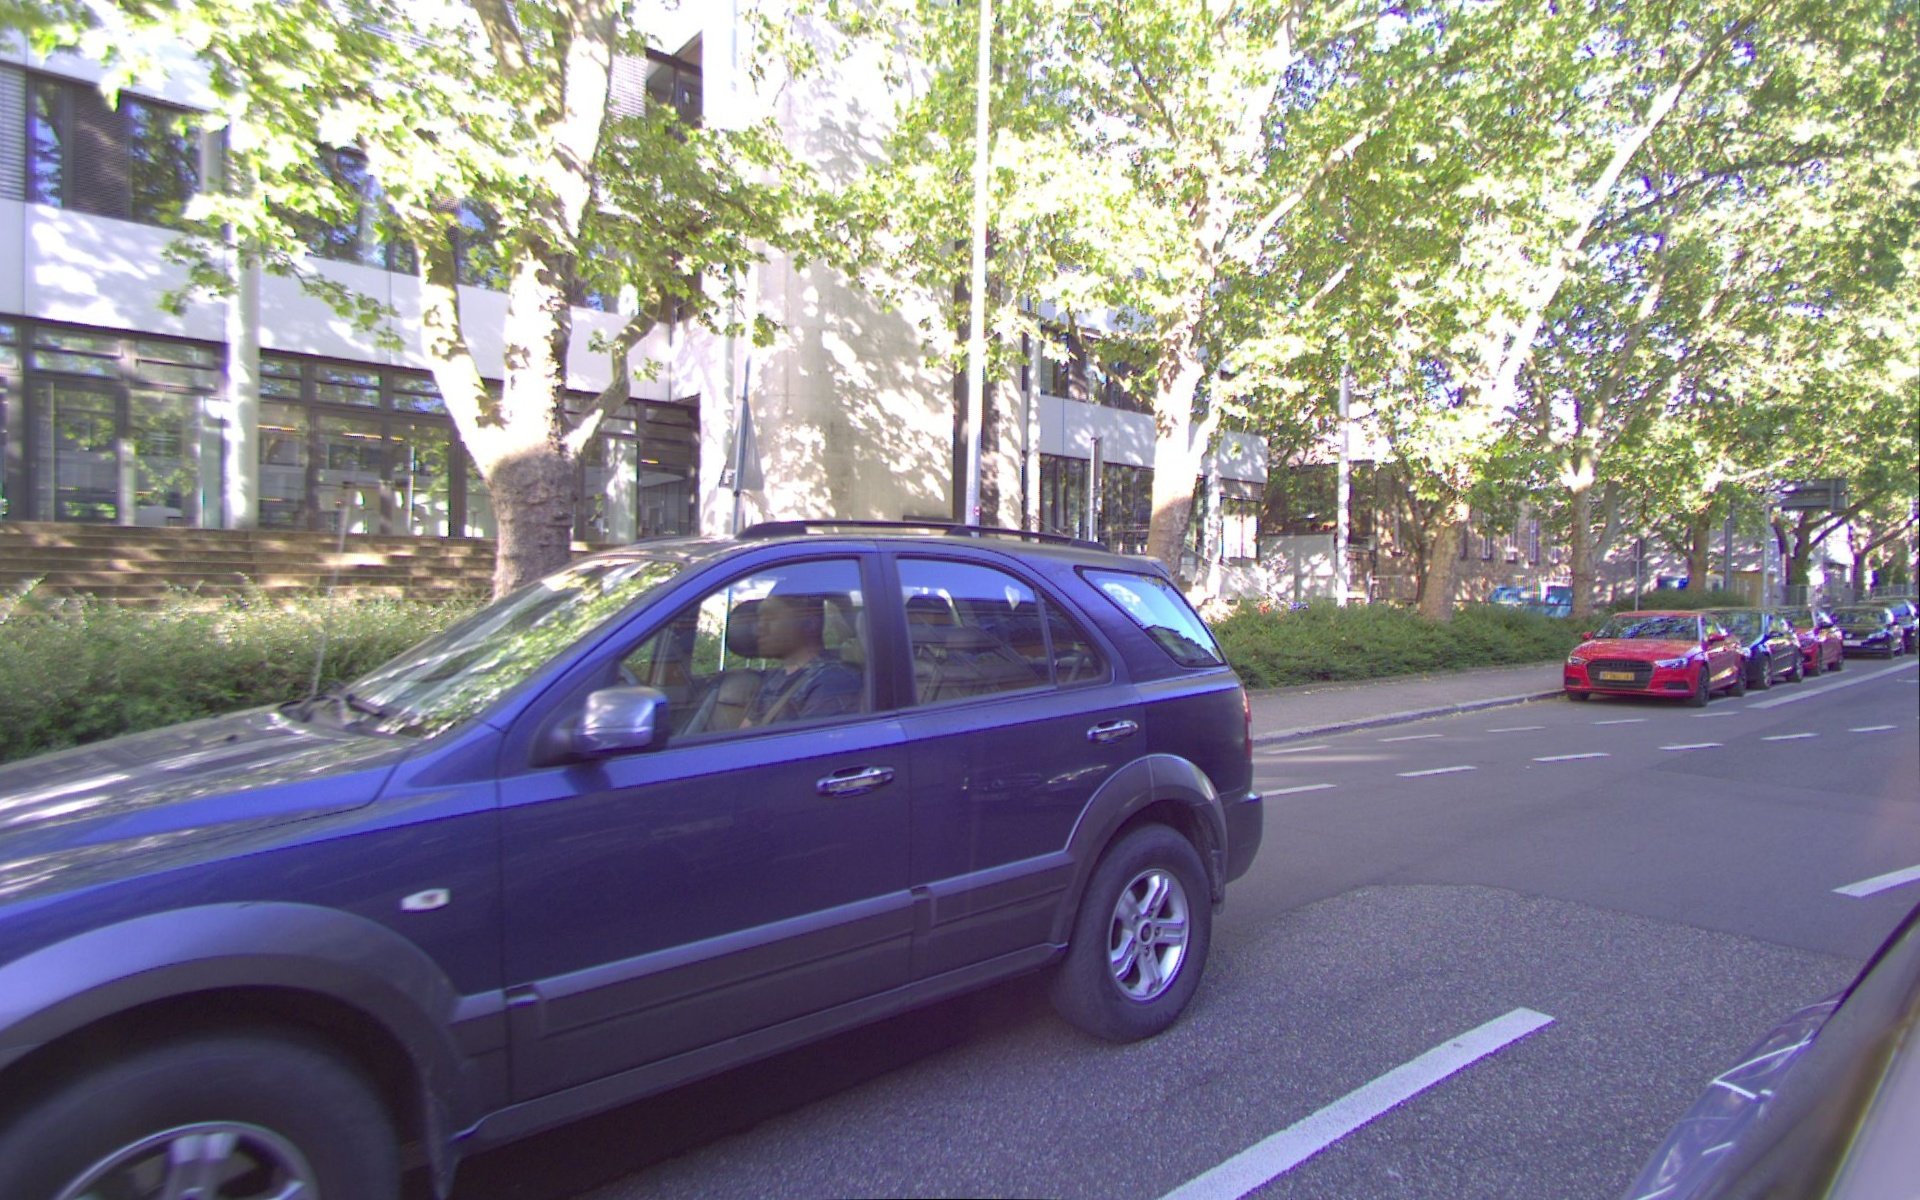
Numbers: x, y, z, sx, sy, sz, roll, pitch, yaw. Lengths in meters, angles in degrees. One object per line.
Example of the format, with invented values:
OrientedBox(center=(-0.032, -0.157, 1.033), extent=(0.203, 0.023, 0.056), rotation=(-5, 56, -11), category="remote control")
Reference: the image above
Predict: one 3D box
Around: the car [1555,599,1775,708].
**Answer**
OrientedBox(center=(11.326, 0.740, 16.144), extent=(4.403, 1.469, 1.865), rotation=(0, 0, -41), category="car")

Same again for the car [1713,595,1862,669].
OrientedBox(center=(18.441, 0.638, 22.483), extent=(4.403, 1.469, 1.865), rotation=(0, 0, -41), category="car")

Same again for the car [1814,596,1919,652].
OrientedBox(center=(25.797, 0.623, 28.617), extent=(4.403, 1.469, 1.865), rotation=(0, 0, -41), category="car")

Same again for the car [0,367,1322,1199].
OrientedBox(center=(-0.824, 0.529, 3.296), extent=(4.403, 1.786, 1.865), rotation=(0, 0, -41), category="car")

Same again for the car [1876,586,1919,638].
OrientedBox(center=(33.914, 0.397, 35.703), extent=(4.403, 1.781, 1.865), rotation=(0, 0, -41), category="car")

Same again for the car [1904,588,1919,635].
OrientedBox(center=(38.880, 0.446, 39.973), extent=(4.403, 1.781, 1.865), rotation=(0, 0, -41), category="car")

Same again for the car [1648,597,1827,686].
OrientedBox(center=(14.773, 0.694, 19.145), extent=(4.403, 1.469, 1.865), rotation=(0, 0, -41), category="car")

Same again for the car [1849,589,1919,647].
OrientedBox(center=(29.576, 0.515, 31.812), extent=(4.403, 1.689, 1.865), rotation=(0, 0, -41), category="car")
